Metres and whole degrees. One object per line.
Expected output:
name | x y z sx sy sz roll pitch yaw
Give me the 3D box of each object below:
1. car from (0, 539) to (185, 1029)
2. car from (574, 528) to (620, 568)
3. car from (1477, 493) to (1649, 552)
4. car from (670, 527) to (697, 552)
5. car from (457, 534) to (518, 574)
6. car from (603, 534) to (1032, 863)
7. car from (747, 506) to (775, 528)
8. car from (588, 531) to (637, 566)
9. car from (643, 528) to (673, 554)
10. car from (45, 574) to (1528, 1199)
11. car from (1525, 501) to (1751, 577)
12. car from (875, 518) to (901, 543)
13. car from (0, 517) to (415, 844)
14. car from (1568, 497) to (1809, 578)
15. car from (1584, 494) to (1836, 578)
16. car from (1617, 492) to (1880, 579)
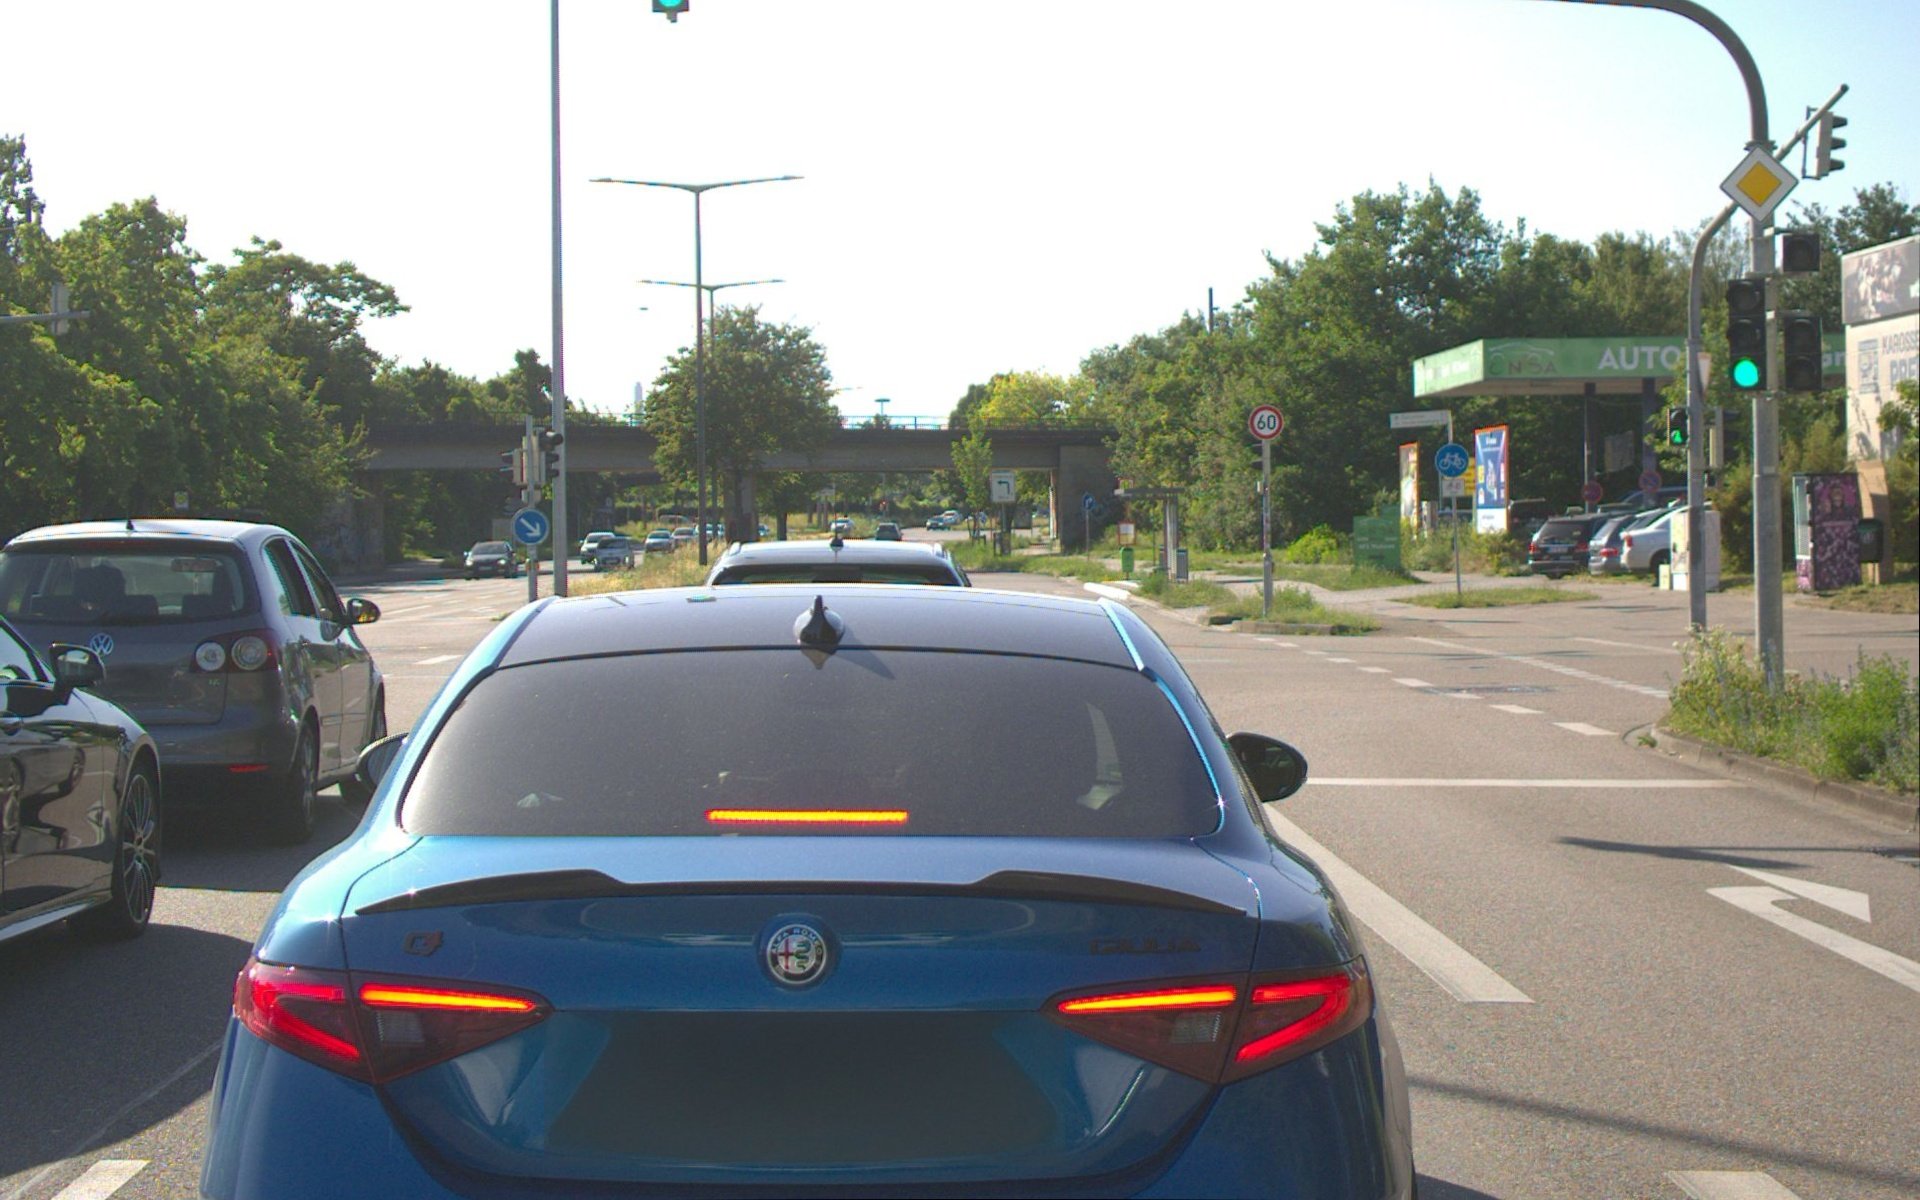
car | -3.813 0.539 10.913 1.796 1.485 4.476 1 1 -2
car | -18.766 -2.696 177.892 1.993 2.007 4.000 1 1 -1
car | 17.044 -2.195 97.321 4.551 1.485 1.765 -2 1 1
car | -18.798 -4.096 233.944 1.609 1.641 3.463 1 1 -1
car | -18.612 -1.806 135.668 1.759 1.485 4.478 -2 1 0
car | -0.682 0.408 17.196 1.850 1.413 4.403 1 1 -2
car | -14.505 -6.038 251.086 1.759 1.485 4.478 -2 1 0
car | -15.371 -2.279 152.304 1.759 1.485 3.837 -2 1 0
car | -19.034 -3.711 217.090 1.615 1.554 3.358 1 1 -1
car | -0.286 0.676 6.624 1.895 1.413 4.403 1 1 -2
car | 14.594 -1.313 74.157 4.489 1.449 1.858 -2 1 1
car | -5.481 -5.305 262.581 1.891 1.809 4.000 1 1 -1
car | -4.028 0.345 17.967 1.759 1.485 4.403 1 1 -2
car | 14.814 -1.265 70.107 4.489 1.449 1.858 -2 1 1
car | 14.657 -1.248 67.353 4.489 1.449 1.858 -2 1 1
car | 14.774 -1.210 64.574 4.489 1.449 1.858 -2 1 1
